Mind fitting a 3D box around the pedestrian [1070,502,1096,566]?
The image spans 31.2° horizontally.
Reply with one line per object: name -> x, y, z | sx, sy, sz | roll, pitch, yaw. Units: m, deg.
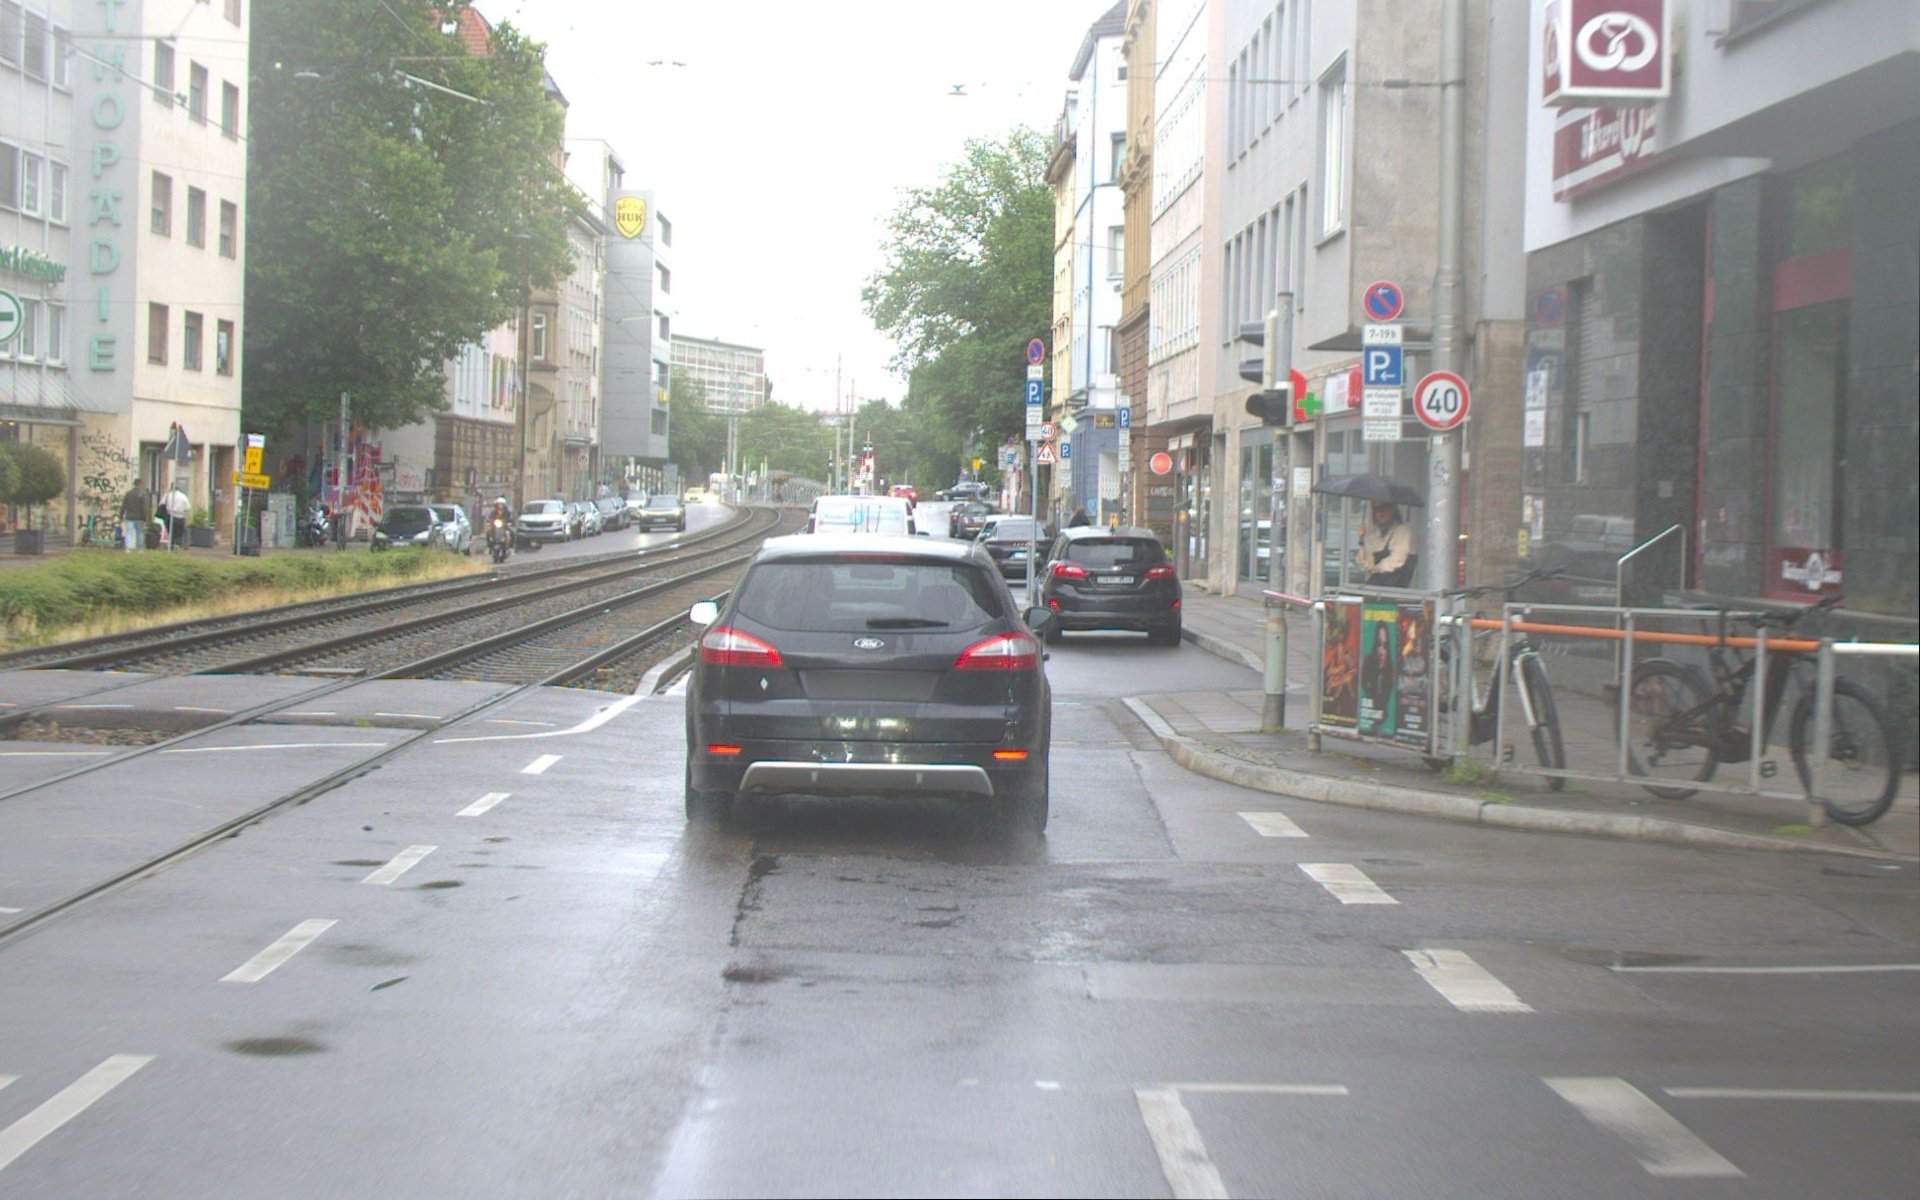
pedestrian -> 3.650, -1.965, 102.010 | 0.661, 1.845, 0.821 | 1, 2, -2

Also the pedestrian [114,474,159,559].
pedestrian -> -18.548, -1.879, 77.433 | 0.727, 1.889, 0.983 | 2, 1, -1

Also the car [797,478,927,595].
car -> -1.566, -1.033, 56.199 | 1.993, 1.810, 4.271 | 1, 1, 0

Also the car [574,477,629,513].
car -> -15.906, -4.662, 152.680 | 1.993, 1.514, 4.676 | 2, 2, -1

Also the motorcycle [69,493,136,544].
motorcycle -> -20.552, -1.946, 82.401 | 1.476, 1.176, 0.386 | 2, 2, -2

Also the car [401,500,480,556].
car -> -15.460, -2.167, 102.412 | 1.721, 1.565, 4.220 | 2, 2, -1

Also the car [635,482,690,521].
car -> -12.832, -4.244, 148.579 | 1.993, 1.514, 4.444 | 2, 0, 0

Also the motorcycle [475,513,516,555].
motorcycle -> -12.114, -1.719, 89.694 | 0.742, 1.056, 1.931 | 2, 1, 1

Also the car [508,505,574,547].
car -> -15.925, -2.840, 130.775 | 1.993, 1.514, 4.436 | 2, 2, -1

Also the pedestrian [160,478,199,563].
pedestrian -> -17.580, -1.794, 77.445 | 0.678, 1.889, 0.743 | 2, 1, -1

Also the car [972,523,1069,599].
car -> 1.288, -0.855, 75.147 | 1.993, 1.588, 4.572 | 1, 1, 0

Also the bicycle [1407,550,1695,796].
bicycle -> 3.233, 0.375, 19.013 | 0.497, 1.254, 1.957 | 1, 1, -25

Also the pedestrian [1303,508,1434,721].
pedestrian -> 3.084, 0.102, 25.977 | 0.659, 1.577, 0.780 | 1, 1, -22

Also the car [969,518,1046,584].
car -> 1.180, -1.258, 86.623 | 1.746, 1.518, 4.356 | 1, 2, -1

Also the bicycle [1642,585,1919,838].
bicycle -> 4.384, 0.540, 17.274 | 0.576, 1.153, 1.956 | 1, 1, -37

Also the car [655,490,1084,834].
car -> -0.438, 0.259, 18.287 | 1.993, 1.588, 4.271 | 1, 1, 0

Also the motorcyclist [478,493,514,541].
motorcyclist -> -12.100, -2.166, 89.655 | 0.741, 1.213, 0.970 | 2, 1, 1

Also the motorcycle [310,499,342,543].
motorcycle -> -19.940, -2.488, 108.151 | 0.639, 1.374, 2.120 | 2, 2, -2

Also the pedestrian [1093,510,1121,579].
pedestrian -> 4.376, -1.648, 102.245 | 0.736, 2.006, 0.821 | 1, 2, -2

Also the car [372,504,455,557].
car -> -15.464, -1.975, 97.469 | 1.744, 1.463, 4.220 | 0, 2, -1

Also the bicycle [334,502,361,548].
bicycle -> -16.859, -2.060, 94.621 | 0.590, 1.222, 2.404 | 2, 1, -8

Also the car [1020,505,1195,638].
car -> 1.822, -0.376, 43.741 | 1.993, 1.588, 4.271 | 1, 1, 0

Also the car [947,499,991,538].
car -> 0.361, -3.403, 142.967 | 1.642, 1.510, 4.040 | 1, 2, -2

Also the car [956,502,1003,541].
car -> 0.783, -3.178, 138.475 | 1.738, 1.484, 4.001 | 1, 2, -2

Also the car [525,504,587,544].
car -> -15.884, -3.004, 135.360 | 1.993, 1.514, 4.209 | 2, 2, -1
